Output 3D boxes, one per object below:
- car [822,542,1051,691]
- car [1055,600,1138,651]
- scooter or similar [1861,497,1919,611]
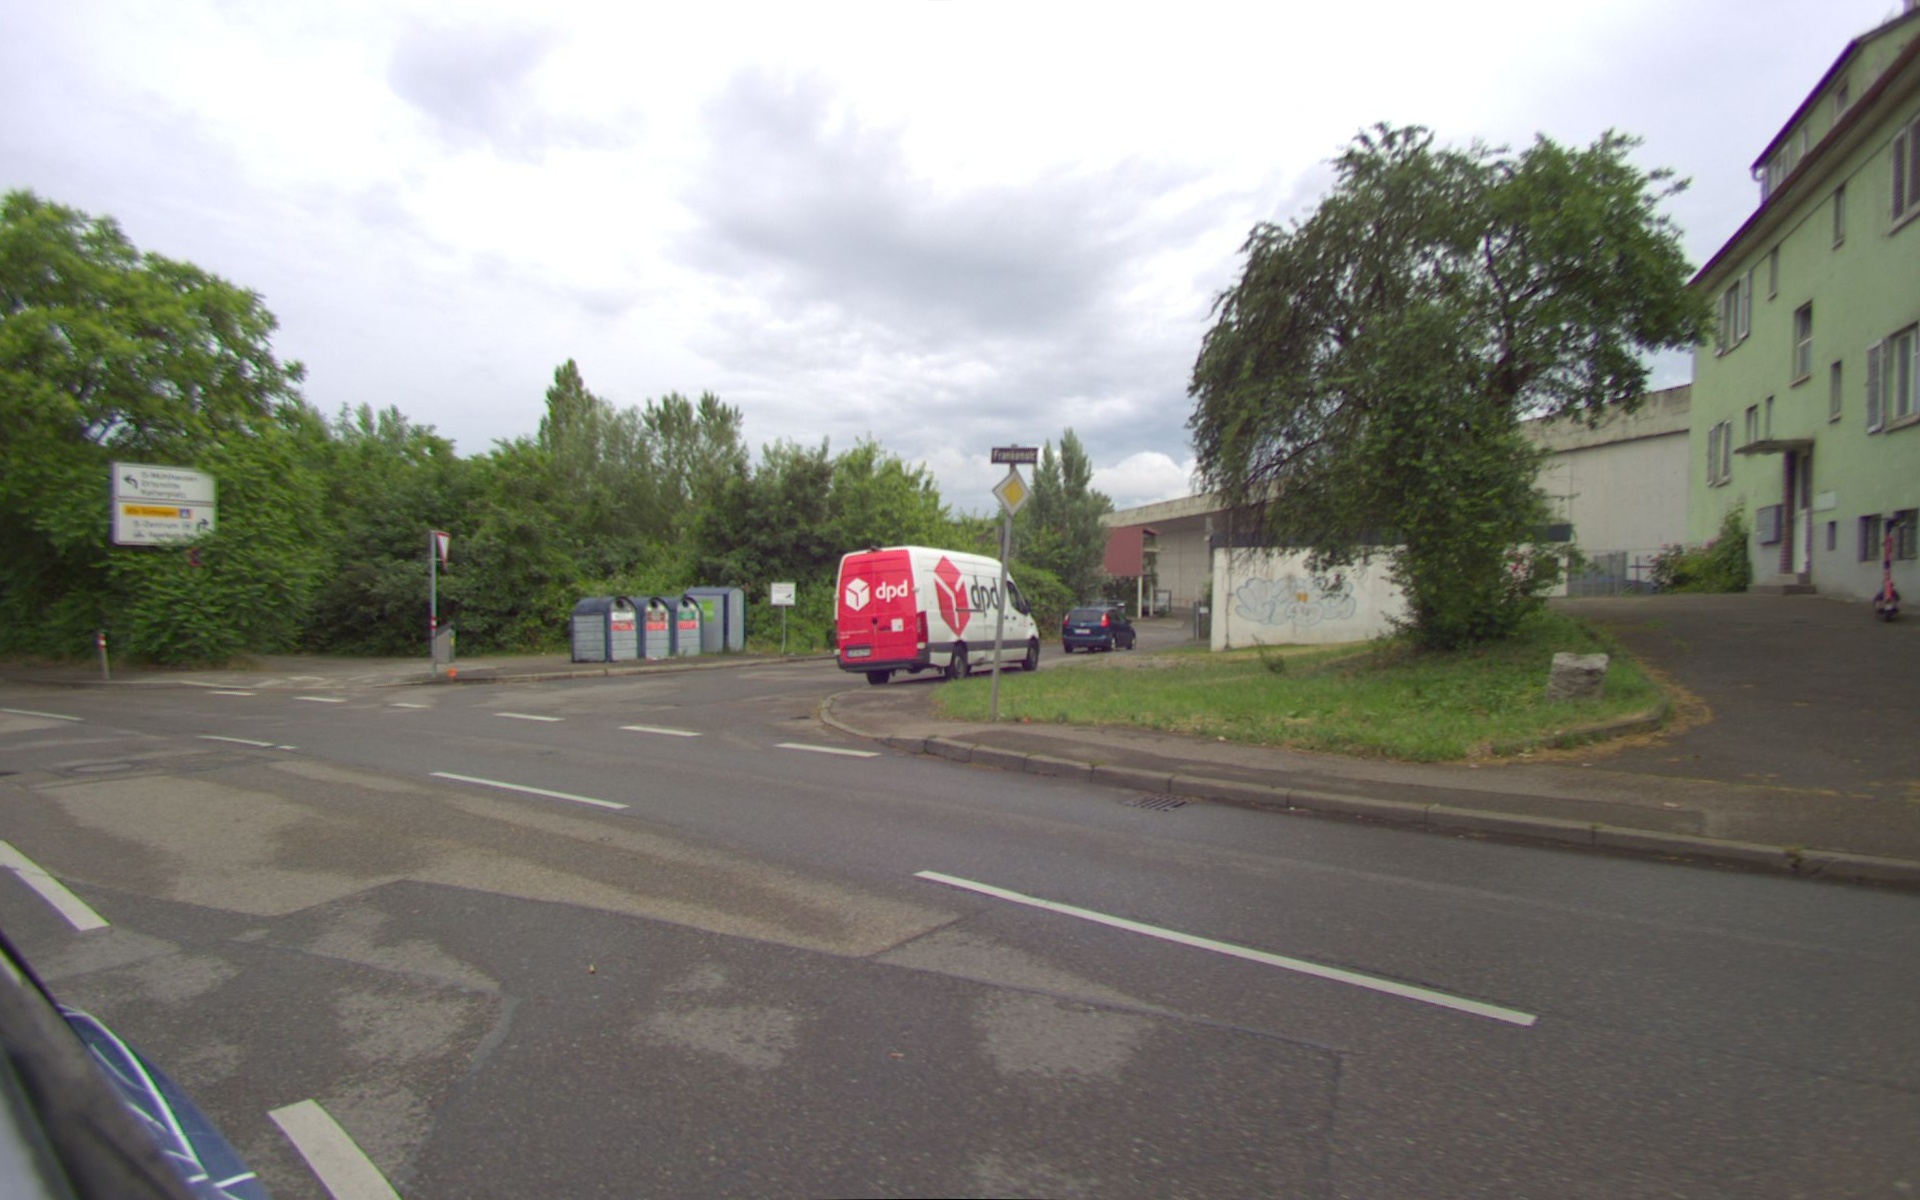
[{"bbox_3d":[-0.214,0.272,21.673,2.249,2.675,6.769,-1,0,24],"label":"car"},{"bbox_3d":[4.899,0.860,35.876,1.986,1.642,4.223,-1,0,21],"label":"car"},{"bbox_3d":[11.298,-0.577,12.225,0.530,1.283,1.506,-1,4,39],"label":"scooter or similar"}]
